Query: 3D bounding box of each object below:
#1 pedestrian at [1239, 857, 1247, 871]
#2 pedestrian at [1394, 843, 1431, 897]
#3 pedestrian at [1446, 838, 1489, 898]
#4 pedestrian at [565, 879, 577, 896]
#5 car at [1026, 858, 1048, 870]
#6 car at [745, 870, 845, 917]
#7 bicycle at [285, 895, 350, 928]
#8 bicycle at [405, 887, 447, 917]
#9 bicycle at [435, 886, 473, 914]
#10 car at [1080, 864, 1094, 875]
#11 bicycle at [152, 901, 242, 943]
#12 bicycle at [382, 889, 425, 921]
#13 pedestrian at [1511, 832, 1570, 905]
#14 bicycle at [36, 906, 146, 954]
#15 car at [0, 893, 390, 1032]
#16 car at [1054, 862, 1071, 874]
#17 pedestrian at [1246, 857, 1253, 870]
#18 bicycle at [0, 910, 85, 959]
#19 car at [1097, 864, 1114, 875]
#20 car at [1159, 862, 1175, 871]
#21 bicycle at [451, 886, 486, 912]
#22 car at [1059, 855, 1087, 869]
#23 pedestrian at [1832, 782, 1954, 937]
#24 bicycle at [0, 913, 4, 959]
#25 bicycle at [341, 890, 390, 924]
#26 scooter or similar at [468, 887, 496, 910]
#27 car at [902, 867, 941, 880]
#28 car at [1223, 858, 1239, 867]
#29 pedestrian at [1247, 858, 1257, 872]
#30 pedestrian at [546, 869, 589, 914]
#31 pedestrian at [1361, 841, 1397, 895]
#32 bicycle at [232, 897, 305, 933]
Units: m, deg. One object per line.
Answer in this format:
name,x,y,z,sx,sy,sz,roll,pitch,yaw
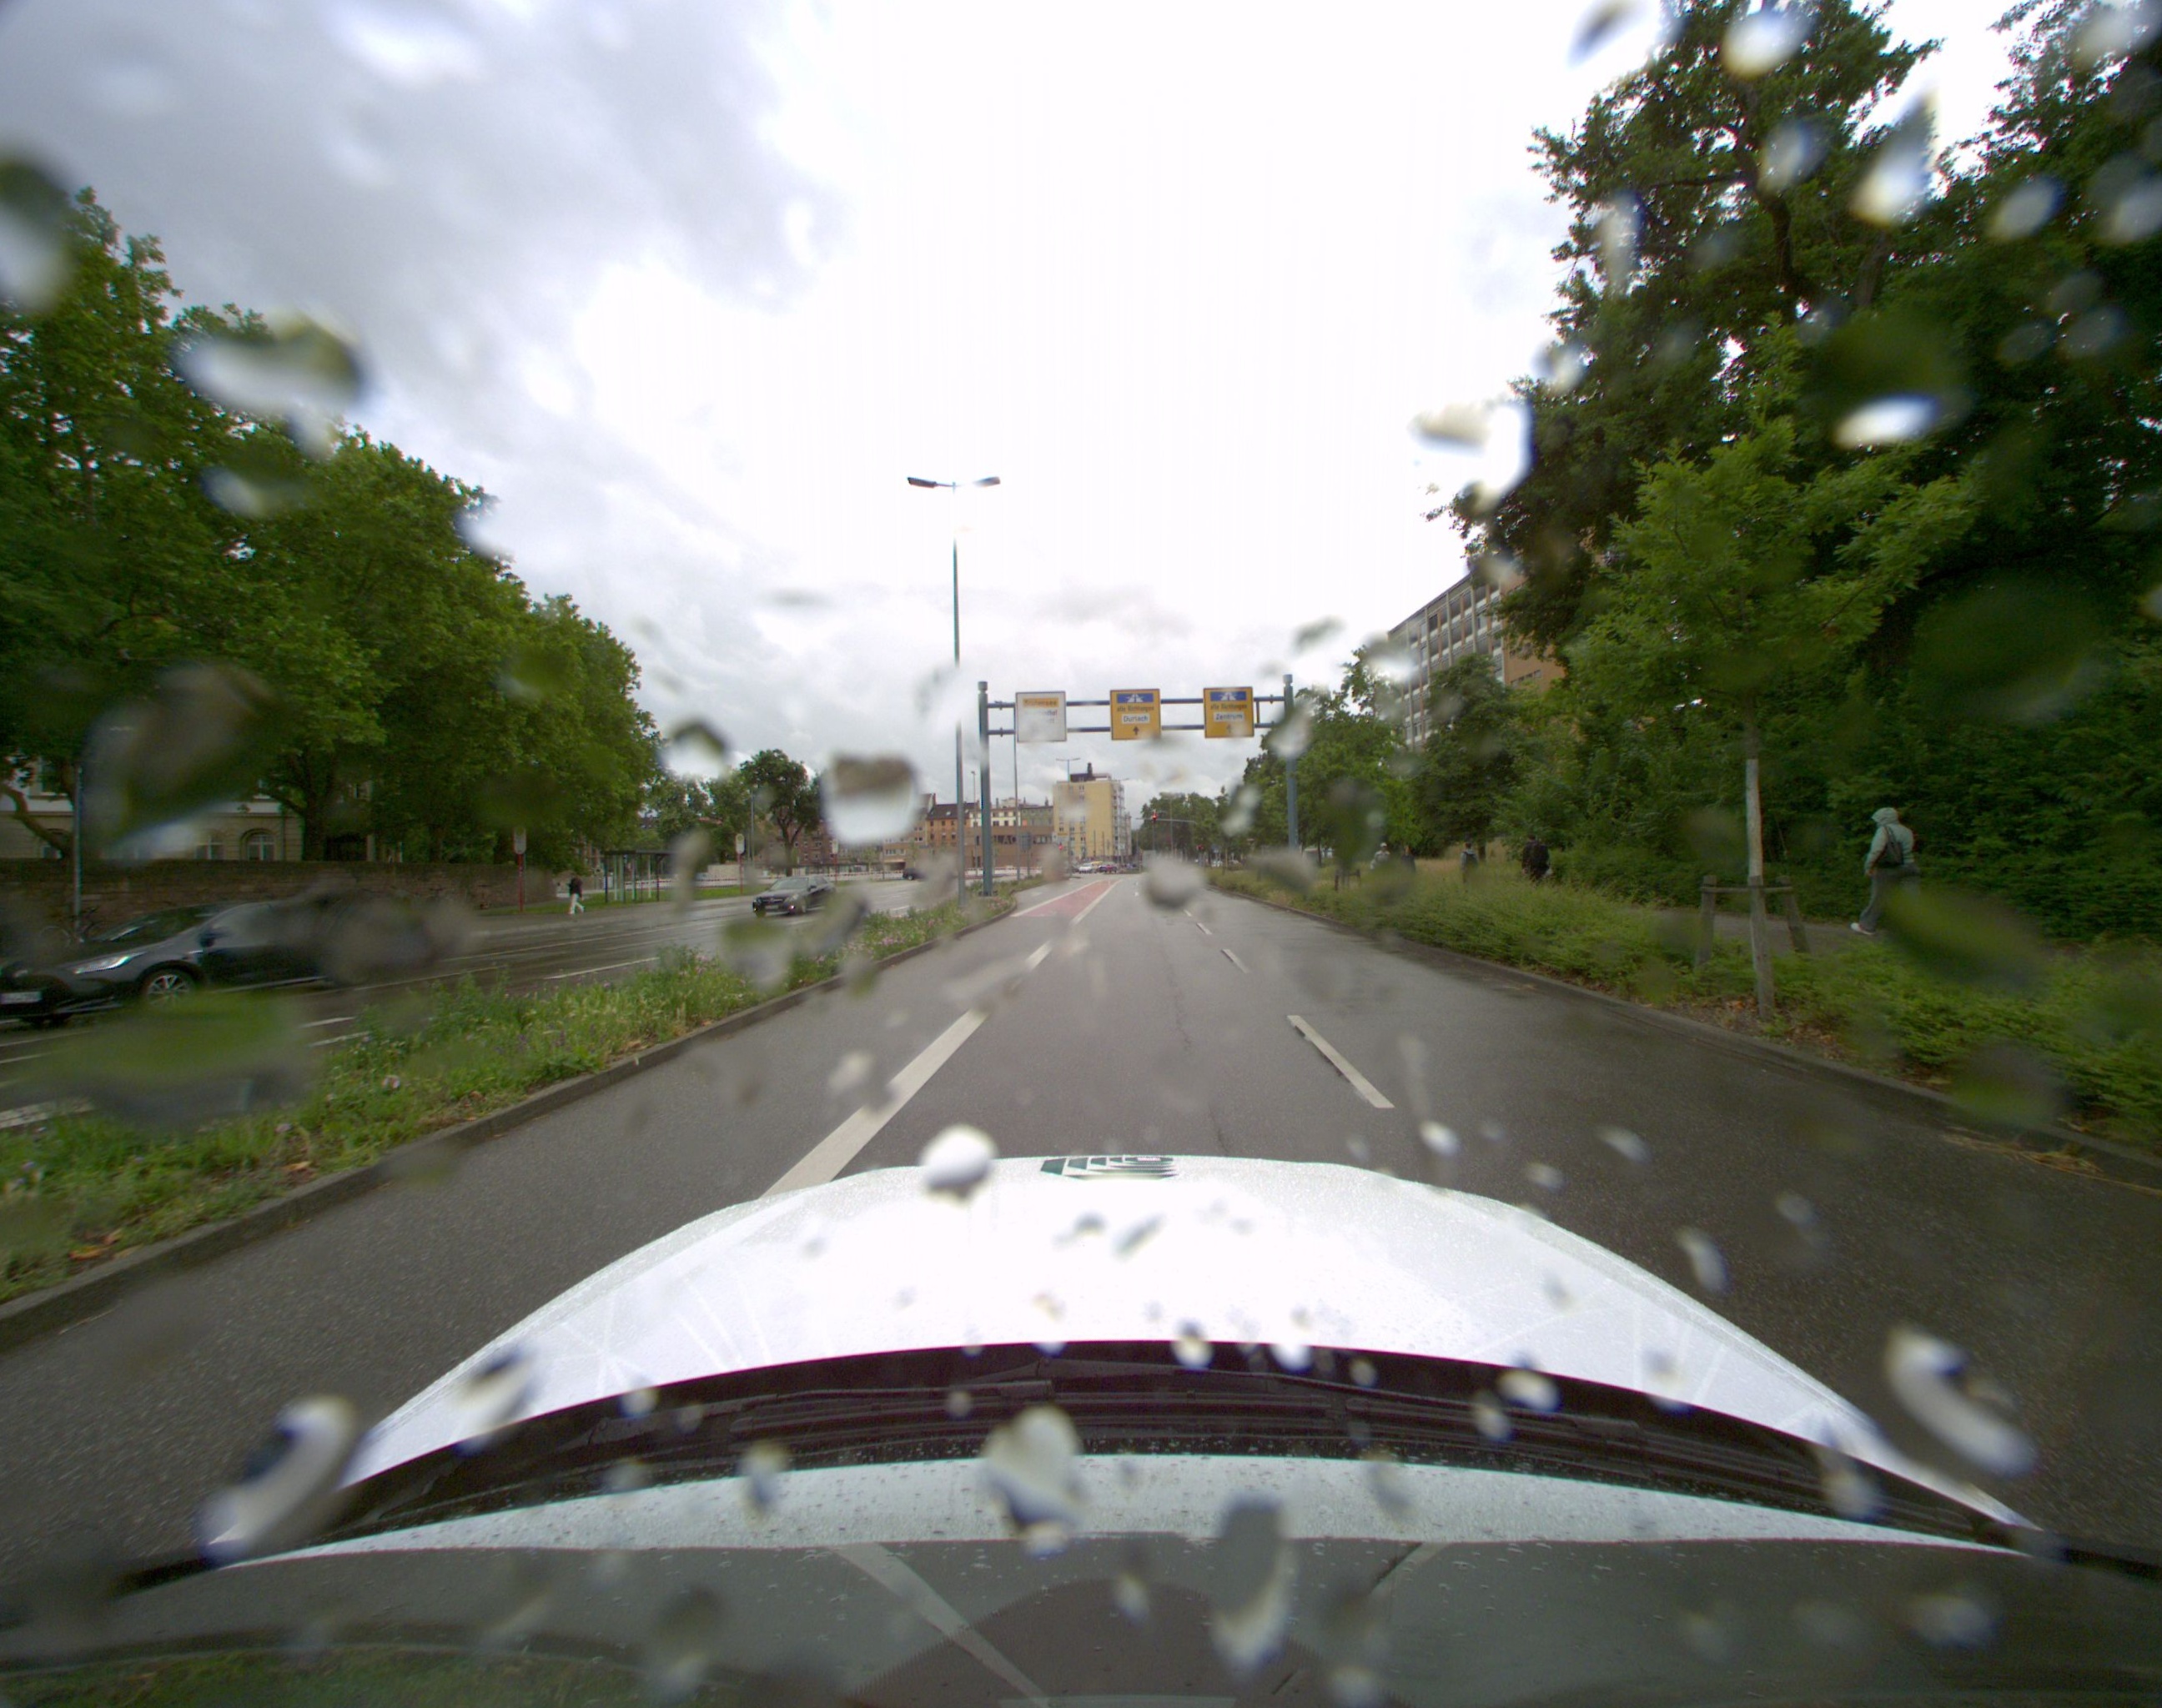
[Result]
pedestrian,19.378,1.173,97.495,0.748,1.588,0.940,-2,-1,16
pedestrian,10.732,0.502,26.382,0.928,1.703,0.830,-1,2,7
pedestrian,11.969,0.417,25.242,0.928,1.797,0.831,-2,-1,8
pedestrian,-54.086,3.519,86.427,0.720,1.778,0.776,-2,-1,5
car,-11.259,2.614,209.389,5.320,2.887,2.344,-2,-1,8
car,-11.152,1.486,32.142,1.799,1.540,4.711,-3,-1,6
bicycle,-25.447,1.905,27.180,0.731,0.983,1.696,-1,-1,-9
bicycle,-27.682,2.018,34.455,0.573,1.136,1.982,-2,0,-13
bicycle,-28.215,2.051,36.658,0.573,1.136,1.982,-2,0,-13
car,0.896,2.170,115.060,1.671,1.404,4.162,-3,-1,4
bicycle,-23.998,1.826,22.147,0.731,0.983,1.696,-1,-1,-9
bicycle,-27.021,2.008,32.501,0.574,1.136,1.979,-2,0,-17
pedestrian,11.385,0.346,20.213,0.928,1.747,1.048,-2,-1,9
bicycle,-24.004,1.823,19.792,0.731,0.983,1.696,-1,-1,-9
car,-12.467,1.388,11.577,1.617,1.415,4.069,-3,-1,3
car,-2.721,2.077,119.772,1.695,1.706,3.830,-2,-1,9
pedestrian,20.003,1.147,96.890,0.697,1.588,0.940,-2,-1,16
bicycle,-23.896,1.809,18.443,0.731,0.983,1.696,-1,-1,-9
car,3.790,2.352,124.903,1.982,1.636,4.614,-4,-1,9
car,15.562,2.236,147.663,1.663,1.501,3.891,-3,-1,26
bicycle,-28.984,2.113,38.558,0.573,1.136,1.982,-2,0,-13
car,-2.052,2.019,207.870,6.703,3.380,2.816,-2,-1,8
pedestrian,11.013,0.074,11.078,0.786,2.014,0.831,-2,-1,9
bicycle,-23.571,1.772,16.742,0.731,0.983,1.696,-1,-1,-9
bicycle,-26.473,1.949,30.152,0.574,1.136,1.979,-2,0,-17
scooter or similar,-29.366,2.193,39.949,0.573,1.047,1.356,-2,-1,-13
car,-18.371,2.245,94.063,4.179,1.402,1.617,-2,-1,-1
car,27.612,1.513,150.014,1.773,1.643,4.184,-2,-1,27
pedestrian,19.522,1.267,92.960,1.015,1.588,0.940,-2,-1,16
pedestrian,-20.301,1.468,32.232,0.866,1.695,1.398,-1,-1,-4
pedestrian,9.801,0.462,26.813,0.928,1.720,0.830,-1,2,7
bicycle,-25.161,1.873,25.251,0.731,0.983,1.696,-1,-1,-9
